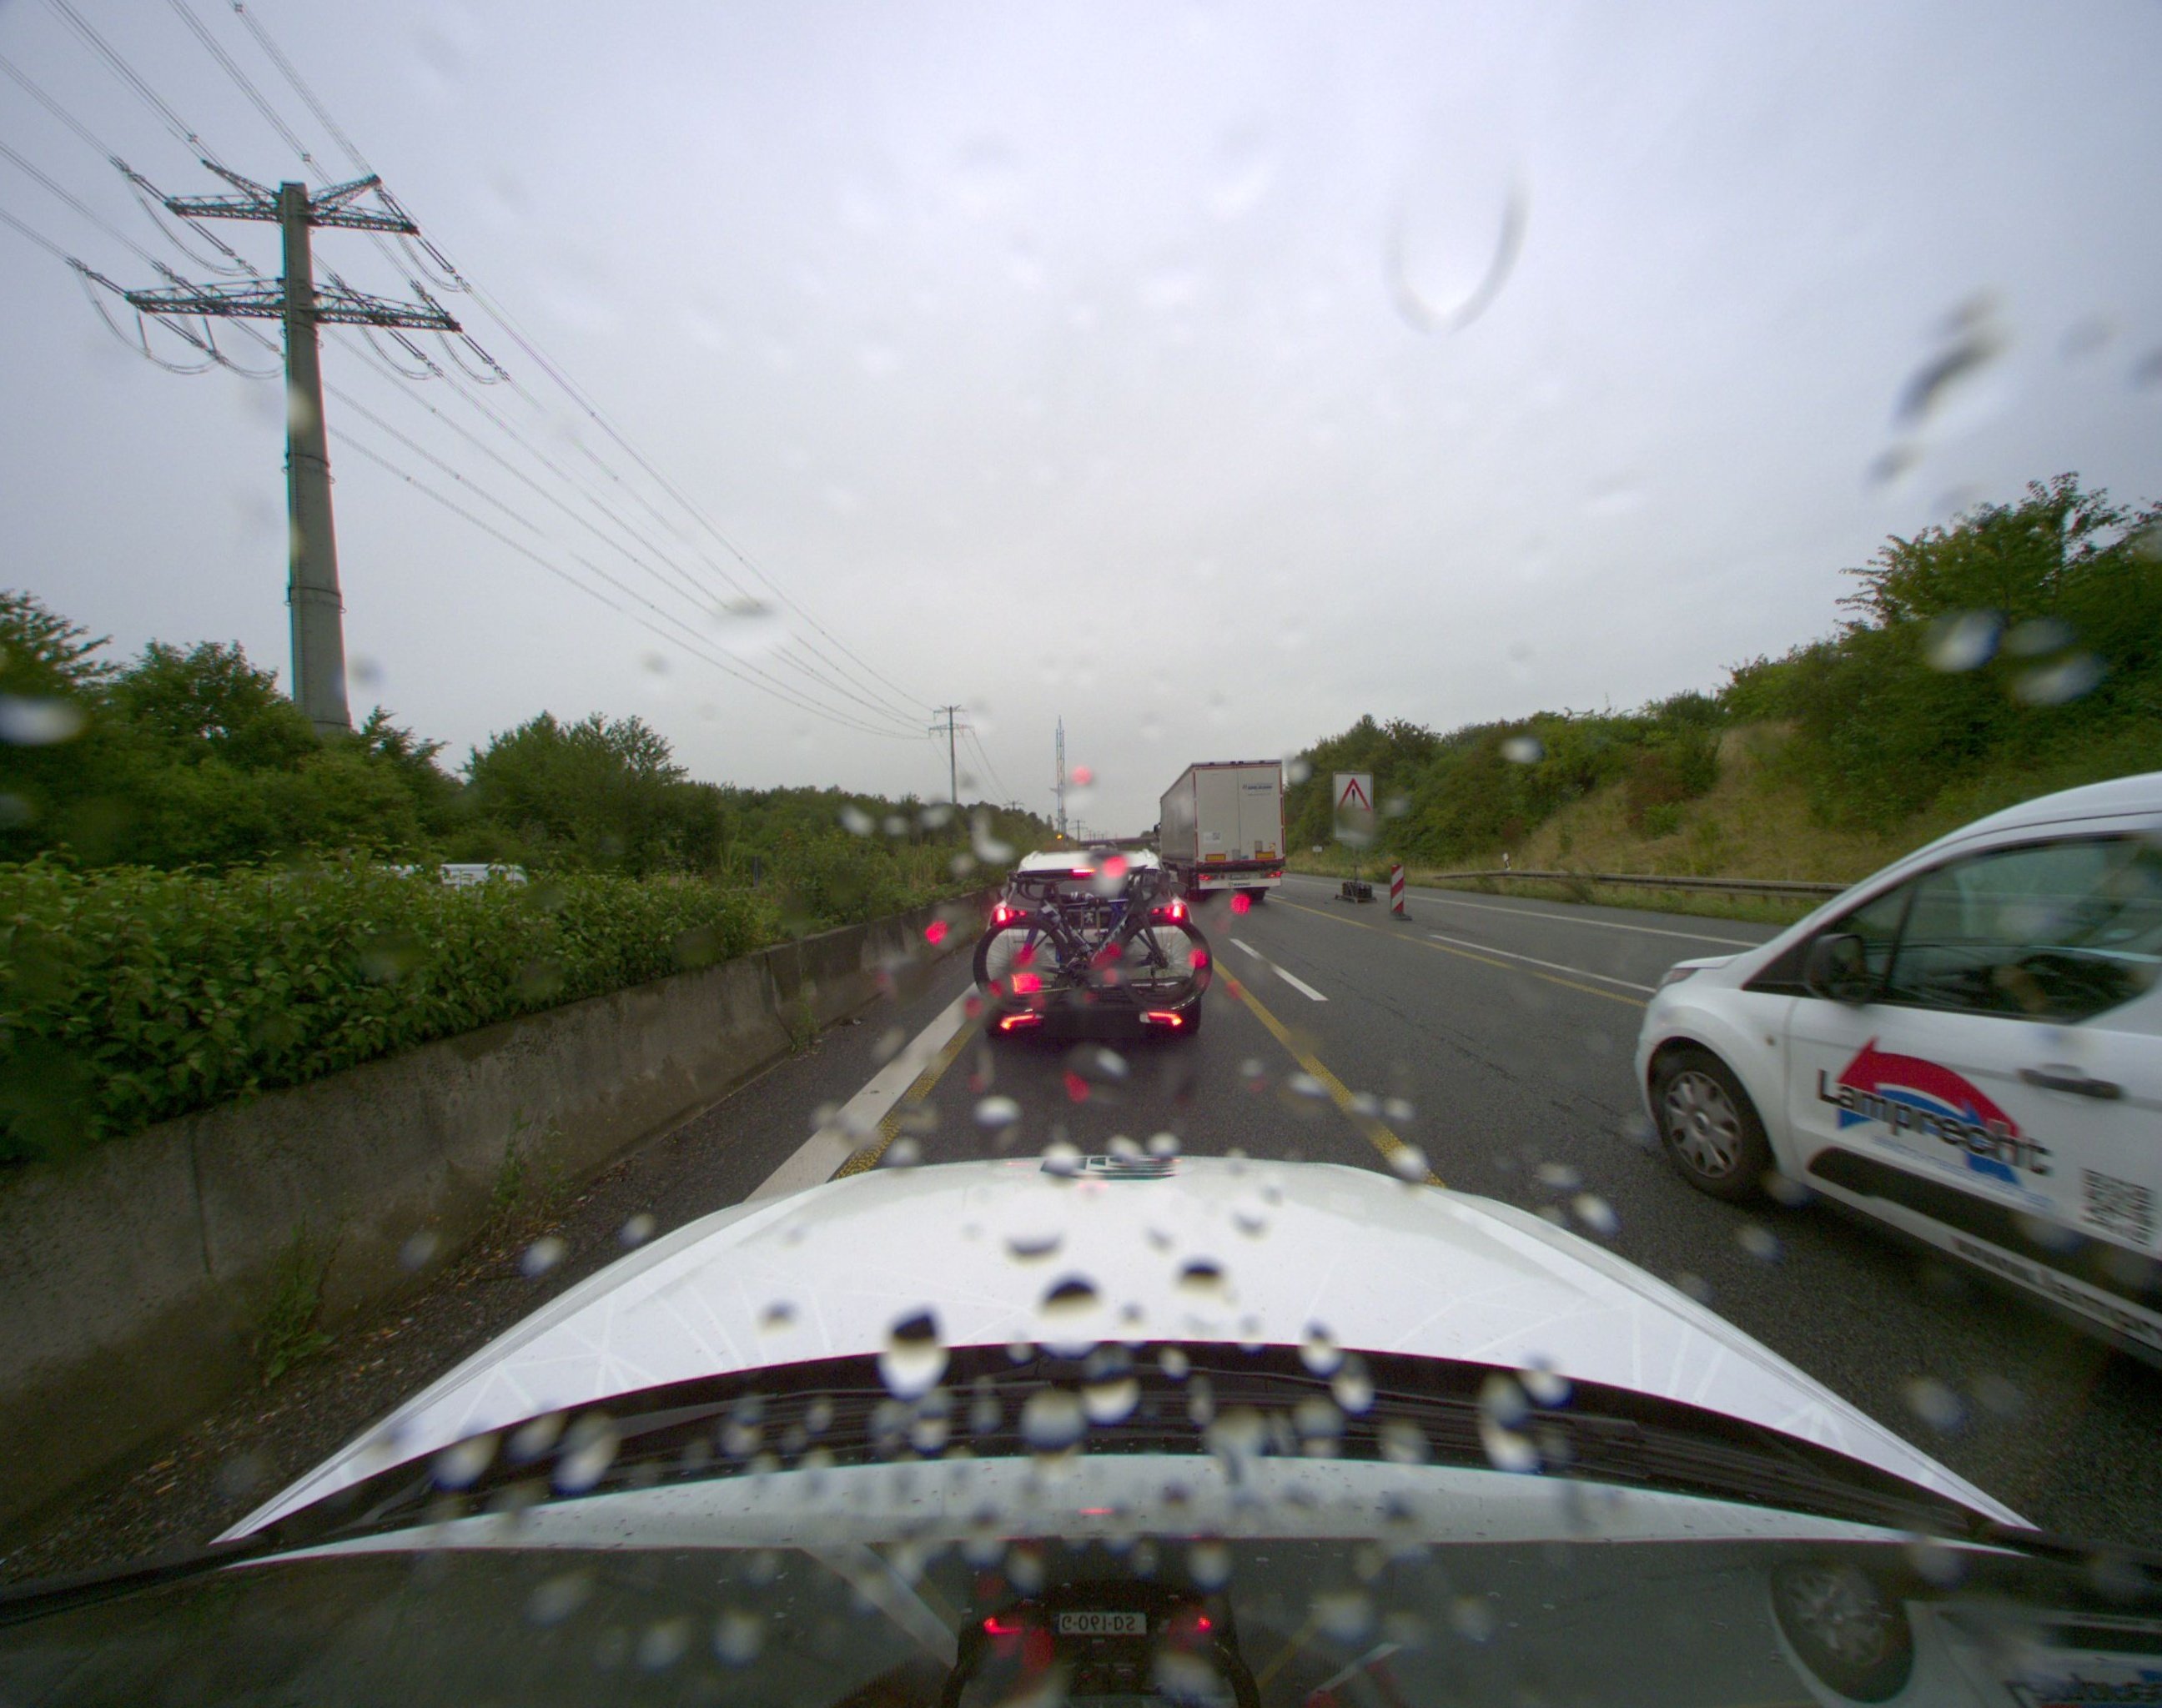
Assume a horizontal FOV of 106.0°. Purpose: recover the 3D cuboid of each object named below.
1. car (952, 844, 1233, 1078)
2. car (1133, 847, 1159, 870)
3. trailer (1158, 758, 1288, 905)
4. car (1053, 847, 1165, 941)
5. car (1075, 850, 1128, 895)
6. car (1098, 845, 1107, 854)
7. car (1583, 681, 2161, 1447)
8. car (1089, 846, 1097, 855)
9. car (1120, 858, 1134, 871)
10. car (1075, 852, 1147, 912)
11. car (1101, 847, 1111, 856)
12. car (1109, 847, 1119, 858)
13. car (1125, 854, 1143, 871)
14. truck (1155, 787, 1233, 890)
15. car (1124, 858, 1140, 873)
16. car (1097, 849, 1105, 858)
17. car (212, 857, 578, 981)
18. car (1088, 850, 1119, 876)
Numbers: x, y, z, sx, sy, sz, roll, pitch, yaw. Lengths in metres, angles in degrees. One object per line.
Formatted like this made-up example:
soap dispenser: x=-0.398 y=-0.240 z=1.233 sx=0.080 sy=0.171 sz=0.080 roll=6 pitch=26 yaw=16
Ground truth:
car: x=0.152 y=0.714 z=7.817 sx=1.843 sy=1.531 sz=4.770 roll=-1 pitch=0 yaw=2
car: x=5.944 y=0.395 z=74.729 sx=2.102 sy=1.973 sz=4.002 roll=-1 pitch=1 yaw=2
trailer: x=4.625 y=-0.633 z=29.626 sx=2.682 sy=4.076 sz=13.639 roll=-1 pitch=0 yaw=2
car: x=0.529 y=0.669 z=15.552 sx=1.843 sy=1.531 sz=4.002 roll=-1 pitch=0 yaw=2
car: x=0.792 y=0.653 z=30.820 sx=1.843 sy=1.531 sz=4.002 roll=-1 pitch=0 yaw=2
car: x=4.942 y=-1.045 z=187.621 sx=1.924 sy=1.973 sz=4.002 roll=-1 pitch=1 yaw=2
car: x=3.496 y=0.492 z=1.943 sx=1.822 sy=1.839 sz=4.657 roll=-1 pitch=0 yaw=2
car: x=3.289 y=-1.030 z=222.059 sx=2.249 sy=2.424 sz=4.002 roll=-1 pitch=1 yaw=2
car: x=7.551 y=1.727 z=132.790 sx=2.140 sy=1.973 sz=4.002 roll=-1 pitch=1 yaw=2
car: x=0.849 y=0.730 z=23.324 sx=1.843 sy=1.531 sz=4.002 roll=-1 pitch=0 yaw=2
car: x=5.380 y=-0.567 z=175.246 sx=1.924 sy=1.910 sz=4.002 roll=-1 pitch=1 yaw=2
car: x=6.214 y=-0.303 z=154.446 sx=1.924 sy=1.973 sz=4.002 roll=-1 pitch=1 yaw=2
car: x=6.666 y=1.087 z=103.326 sx=2.140 sy=1.973 sz=4.002 roll=-1 pitch=1 yaw=2
truck: x=4.817 y=-0.620 z=35.931 sx=2.650 sy=4.076 sz=6.542 roll=-1 pitch=0 yaw=2
car: x=7.461 y=1.616 z=118.857 sx=2.140 sy=1.973 sz=4.002 roll=-1 pitch=1 yaw=2
car: x=4.497 y=-0.066 z=182.243 sx=1.924 sy=1.973 sz=4.002 roll=-1 pitch=1 yaw=2
car: x=-11.444 y=0.949 z=14.261 sx=1.986 sy=1.726 sz=5.061 roll=-1 pitch=0 yaw=2
car: x=1.436 y=0.537 z=51.261 sx=1.843 sy=1.531 sz=4.002 roll=-1 pitch=0 yaw=2
